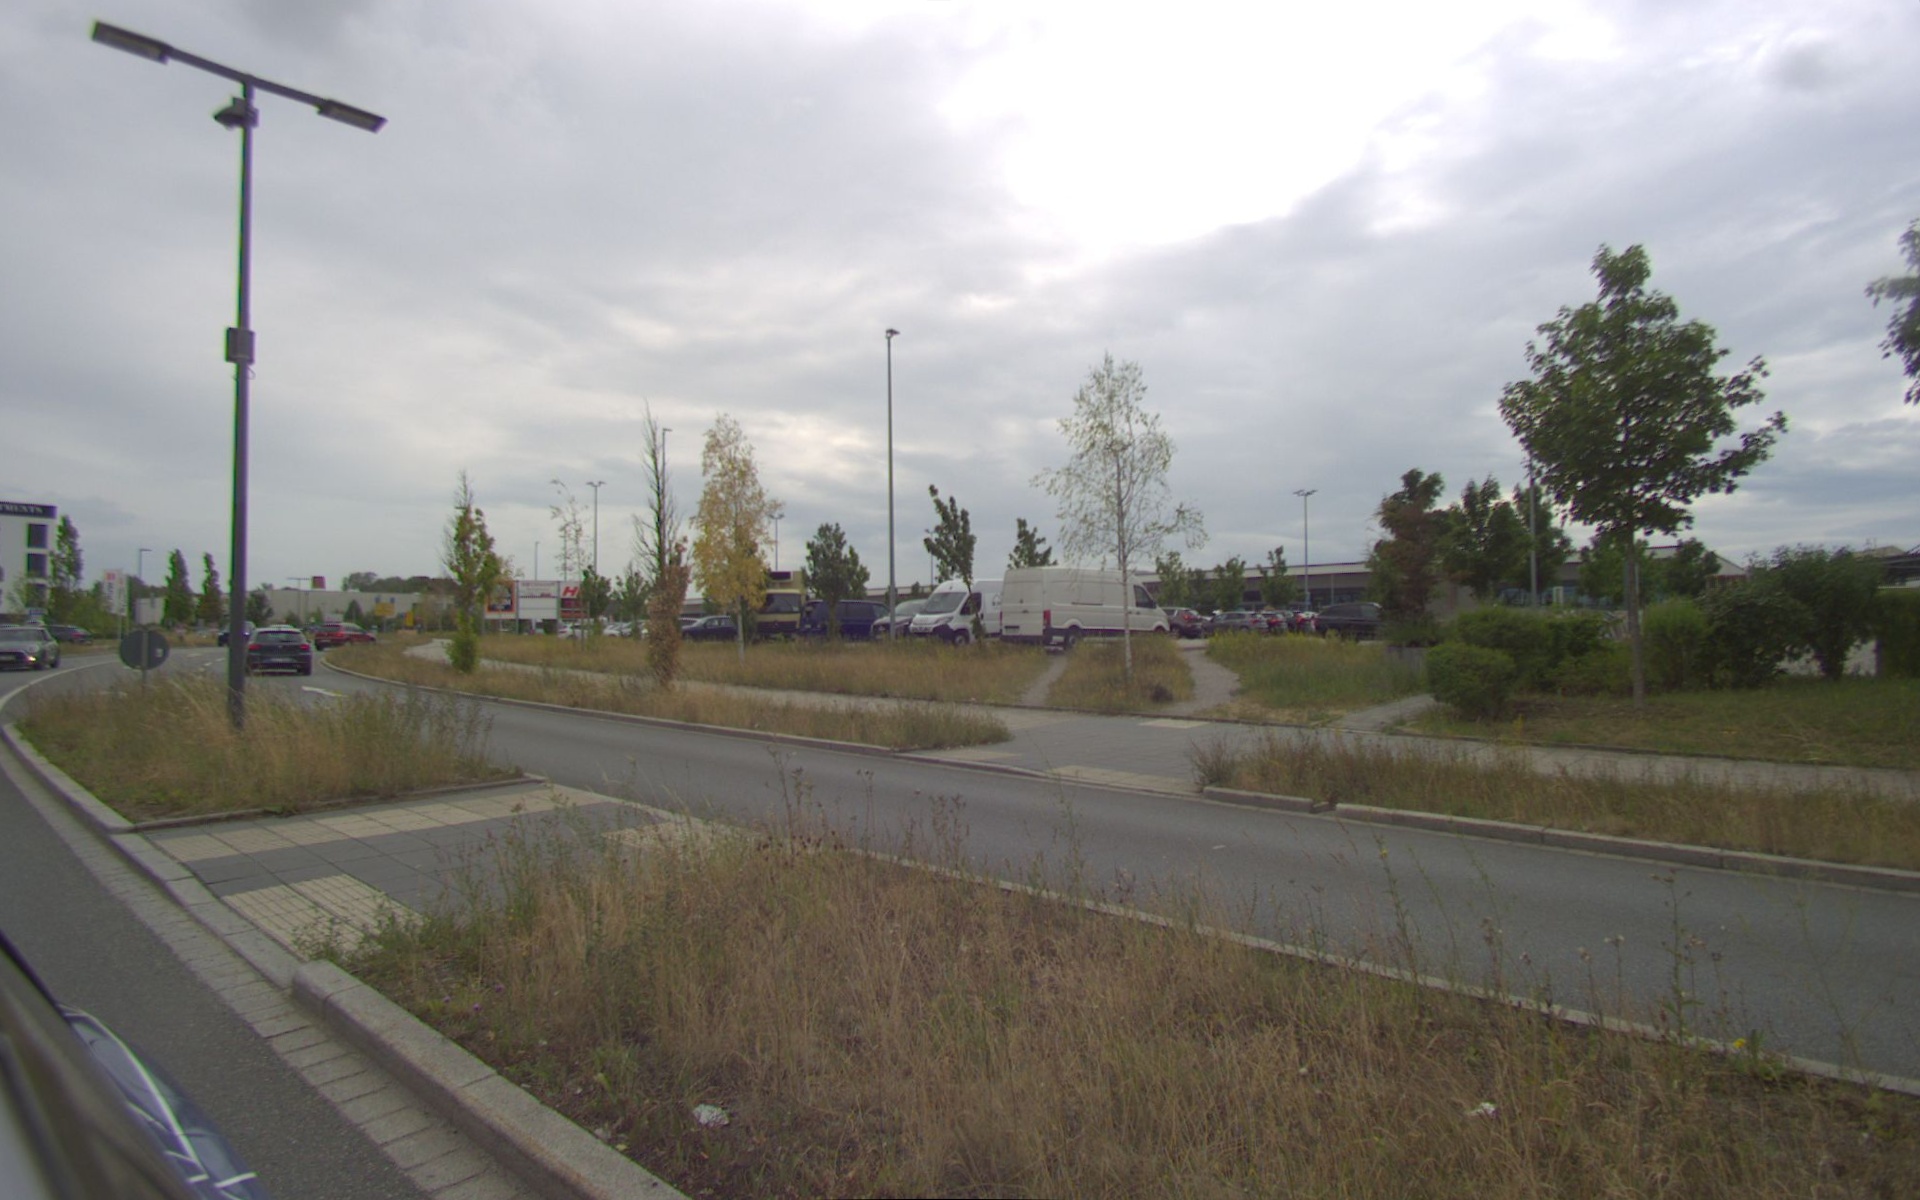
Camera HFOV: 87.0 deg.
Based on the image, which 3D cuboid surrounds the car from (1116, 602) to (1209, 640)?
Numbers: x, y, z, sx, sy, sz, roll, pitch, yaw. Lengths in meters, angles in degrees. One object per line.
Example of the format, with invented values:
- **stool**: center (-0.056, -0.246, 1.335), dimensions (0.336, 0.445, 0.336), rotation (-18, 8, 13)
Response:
- **car**: center (10.280, 1.094, 51.526), dimensions (4.263, 1.863, 1.974), rotation (-2, -2, 40)

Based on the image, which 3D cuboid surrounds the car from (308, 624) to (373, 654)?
- **car**: center (-37.509, 2.397, 61.380), dimensions (1.776, 1.682, 4.335), rotation (2, -4, -9)

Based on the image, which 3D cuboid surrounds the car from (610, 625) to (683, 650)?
- **car**: center (-20.036, 2.387, 64.612), dimensions (4.182, 1.525, 2.052), rotation (0, -2, -26)

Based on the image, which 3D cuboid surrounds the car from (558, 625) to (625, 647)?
- **car**: center (-25.729, 2.522, 70.705), dimensions (4.120, 1.480, 1.892), rotation (1, -2, -28)

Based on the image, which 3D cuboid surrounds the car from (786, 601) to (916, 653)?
- **car**: center (-4.399, 1.102, 41.286), dimensions (4.838, 2.005, 2.183), rotation (1, -2, -38)

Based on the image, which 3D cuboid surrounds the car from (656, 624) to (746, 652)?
- **car**: center (-13.642, 1.999, 53.386), dimensions (4.174, 1.446, 2.003), rotation (1, -3, -32)

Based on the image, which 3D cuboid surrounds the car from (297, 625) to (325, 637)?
- **car**: center (-114.850, 5.442, 179.064), dimensions (1.633, 2.029, 3.966), rotation (-1, -2, 25)

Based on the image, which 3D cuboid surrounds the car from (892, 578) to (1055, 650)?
- **car**: center (0.586, 0.528, 35.487), dimensions (2.211, 2.324, 6.000), rotation (-2, -2, 44)

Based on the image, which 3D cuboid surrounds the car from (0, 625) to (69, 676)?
- **car**: center (-30.898, 1.642, 33.286), dimensions (1.728, 1.597, 4.011), rotation (0, -2, -31)

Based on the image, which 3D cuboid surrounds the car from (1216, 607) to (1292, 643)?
- **car**: center (17.096, 1.475, 59.027), dimensions (1.723, 2.029, 4.010), rotation (1, -2, -35)

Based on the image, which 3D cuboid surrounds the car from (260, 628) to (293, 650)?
- **car**: center (-45.909, 2.628, 67.942), dimensions (1.680, 1.449, 4.041), rotation (2, -3, -36)

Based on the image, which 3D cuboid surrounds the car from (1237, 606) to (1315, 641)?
- **car**: center (18.997, 1.397, 60.939), dimensions (1.968, 2.029, 4.007), rotation (1, -2, -39)

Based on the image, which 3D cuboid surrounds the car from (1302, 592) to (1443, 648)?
- **car**: center (15.856, 0.802, 39.074), dimensions (4.638, 2.048, 1.972), rotation (-2, -3, 43)

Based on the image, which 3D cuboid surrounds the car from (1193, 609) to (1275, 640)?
- **car**: center (15.367, 1.407, 56.812), dimensions (3.996, 1.684, 1.974), rotation (-2, -2, 39)

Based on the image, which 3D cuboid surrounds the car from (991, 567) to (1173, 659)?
- **car**: center (3.956, 0.448, 31.749), dimensions (2.245, 2.618, 6.334), rotation (-2, -2, 45)

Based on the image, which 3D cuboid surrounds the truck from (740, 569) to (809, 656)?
- **truck**: center (-8.359, 0.636, 46.361), dimensions (2.813, 3.568, 8.444), rotation (0, -2, -8)

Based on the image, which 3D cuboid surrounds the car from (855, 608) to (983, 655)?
- **car**: center (-1.469, 1.173, 37.796), dimensions (1.994, 1.629, 4.849), rotation (-2, -2, 42)

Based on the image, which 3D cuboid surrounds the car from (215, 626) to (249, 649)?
- **car**: center (-52.350, 2.659, 72.827), dimensions (1.728, 1.597, 4.011), rotation (0, -2, -33)

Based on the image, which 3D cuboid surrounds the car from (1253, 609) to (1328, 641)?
- **car**: center (20.530, 1.576, 63.012), dimensions (1.968, 1.912, 4.007), rotation (1, -2, -39)

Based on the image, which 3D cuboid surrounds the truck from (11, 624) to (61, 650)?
- **truck**: center (-86.505, 3.513, 94.839), dimensions (2.196, 2.343, 8.235), rotation (1, -3, -34)

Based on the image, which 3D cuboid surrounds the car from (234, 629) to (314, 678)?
- **car**: center (-21.411, 1.665, 31.529), dimensions (1.817, 1.418, 4.009), rotation (4, -4, -36)

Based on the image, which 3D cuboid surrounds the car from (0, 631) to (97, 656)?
- **car**: center (-53.091, 2.516, 58.773), dimensions (4.175, 1.431, 1.840), rotation (0, -2, -12)

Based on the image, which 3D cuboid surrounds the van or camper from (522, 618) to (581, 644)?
- **van or camper**: center (-45.880, 3.475, 113.674), dimensions (5.774, 2.821, 2.249), rotation (1, -2, -35)

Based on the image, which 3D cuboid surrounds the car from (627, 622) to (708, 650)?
- **car**: center (-17.327, 2.134, 60.050), dimensions (4.190, 1.571, 1.994), rotation (1, -3, -35)

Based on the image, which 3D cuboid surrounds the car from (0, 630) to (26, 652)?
- **car**: center (-76.484, 3.275, 81.290), dimensions (1.740, 1.699, 4.420), rotation (2, -3, -38)
